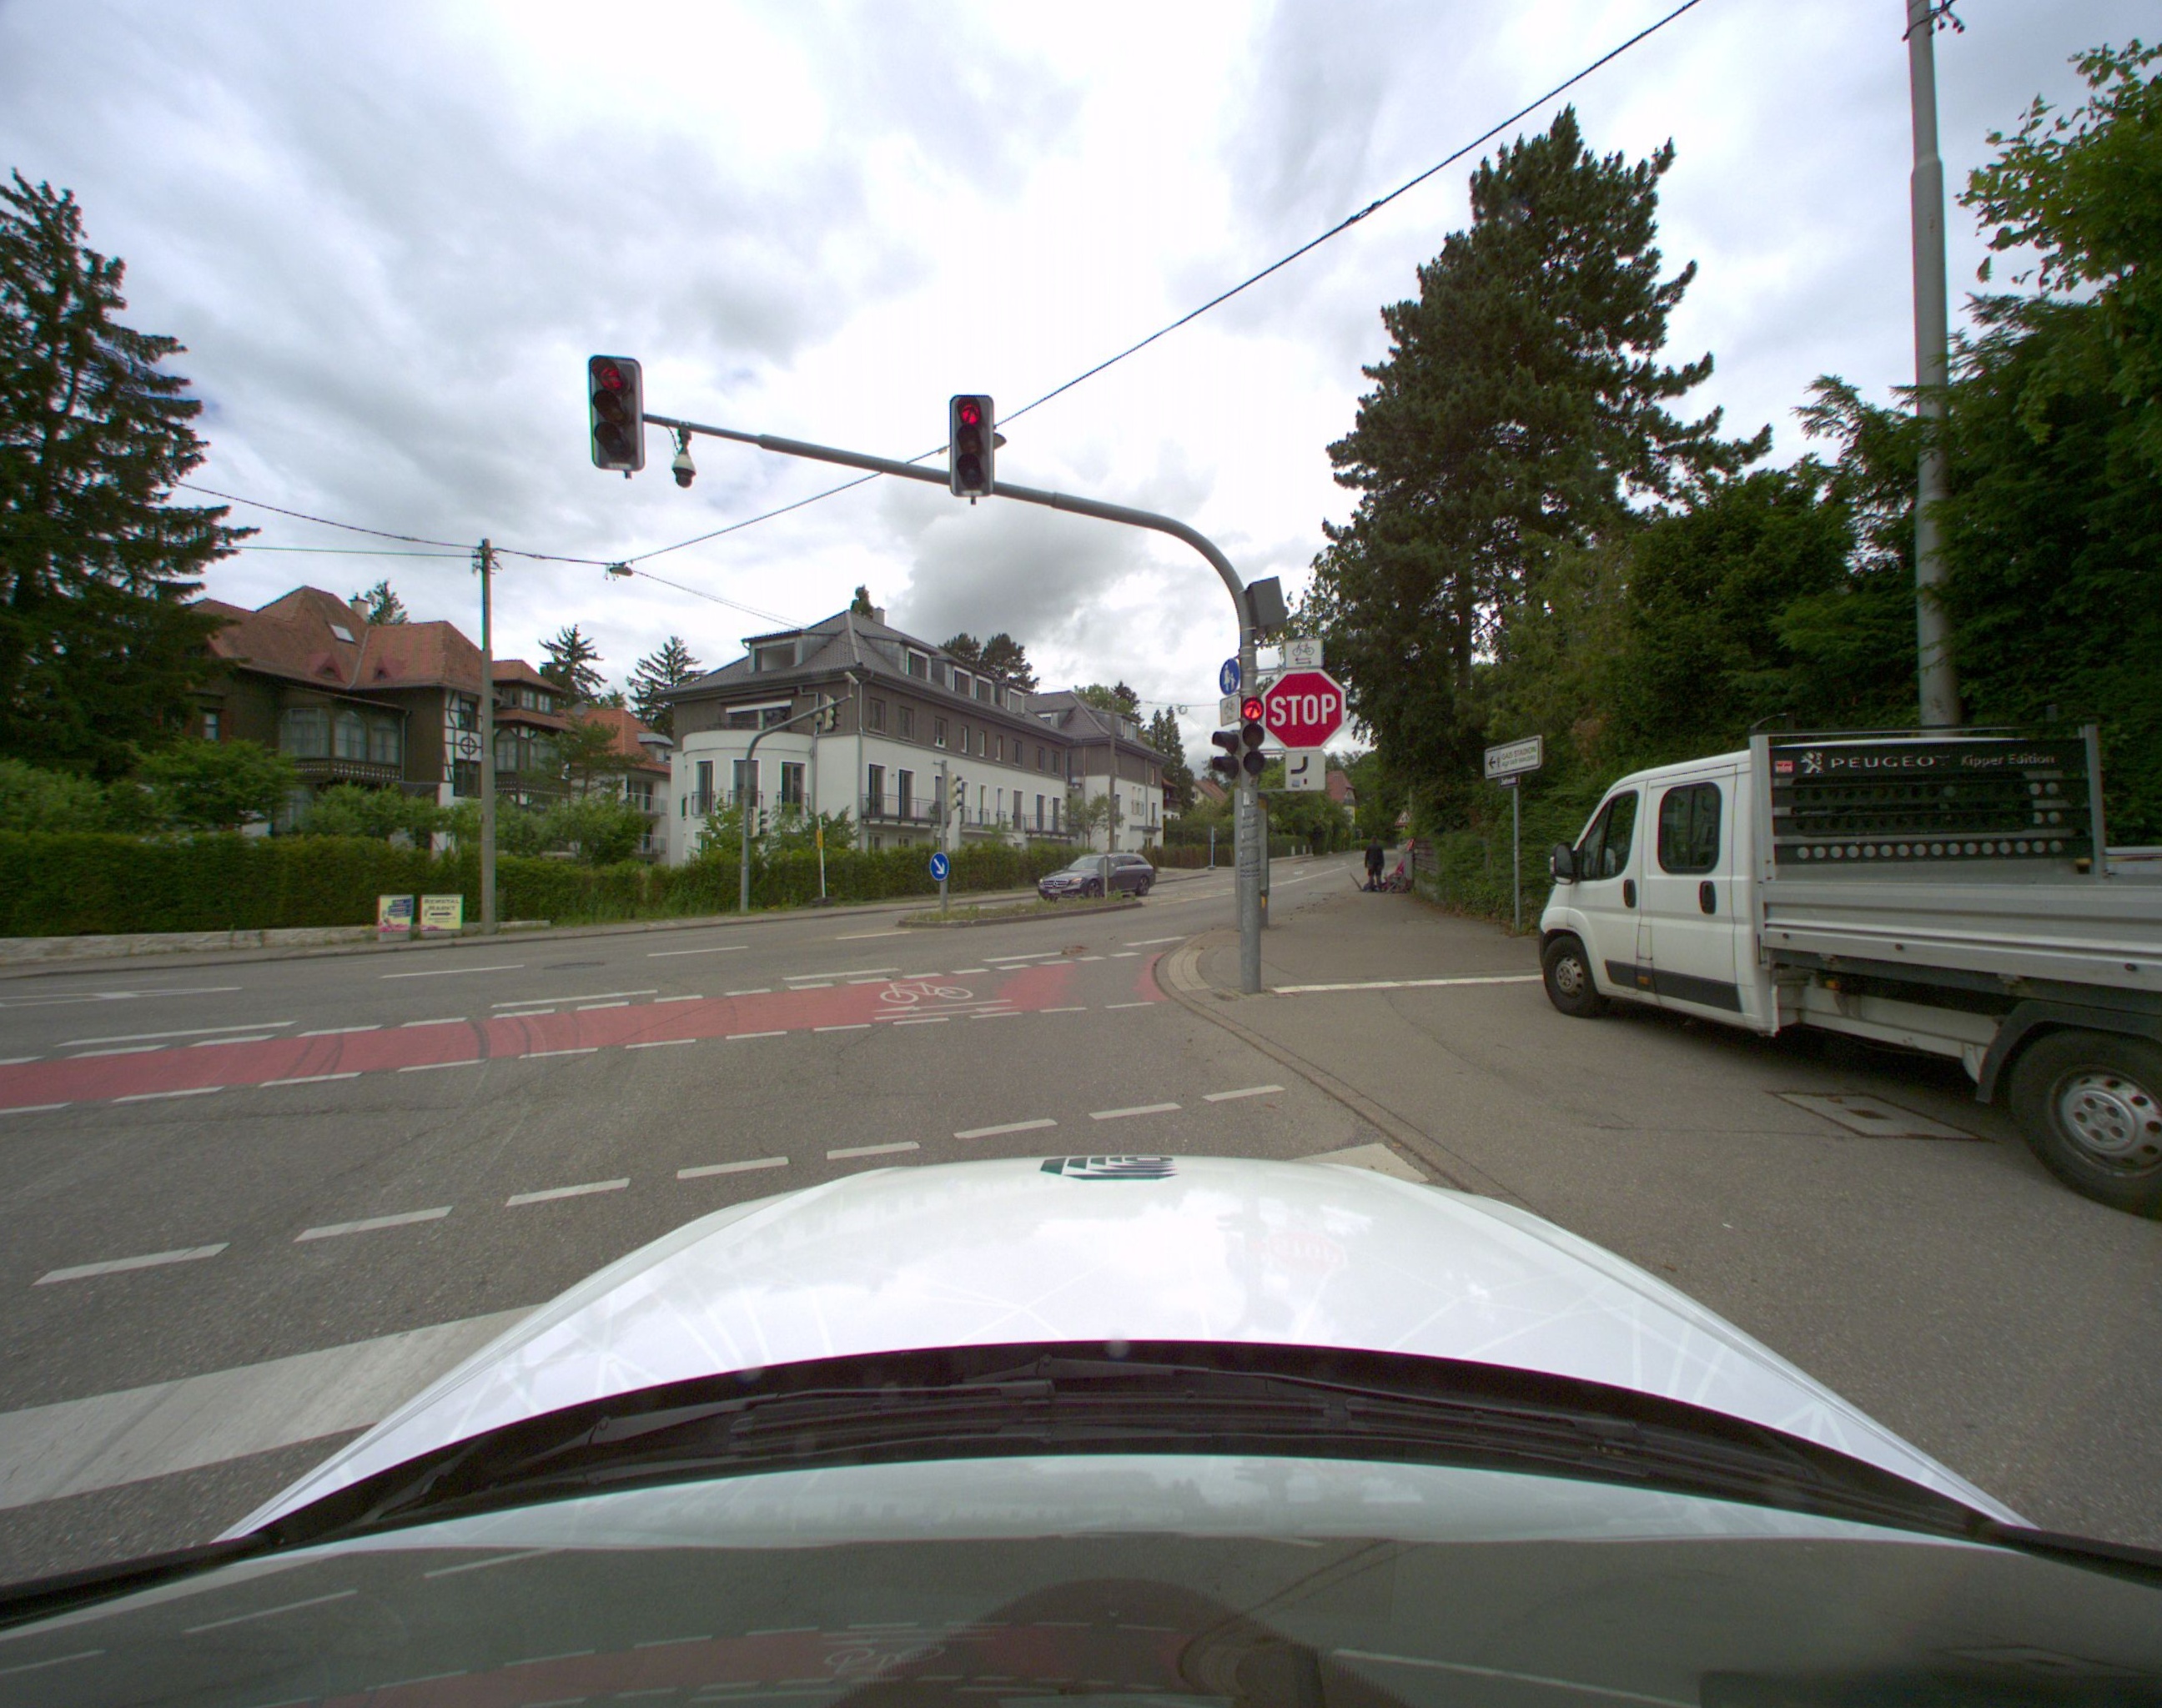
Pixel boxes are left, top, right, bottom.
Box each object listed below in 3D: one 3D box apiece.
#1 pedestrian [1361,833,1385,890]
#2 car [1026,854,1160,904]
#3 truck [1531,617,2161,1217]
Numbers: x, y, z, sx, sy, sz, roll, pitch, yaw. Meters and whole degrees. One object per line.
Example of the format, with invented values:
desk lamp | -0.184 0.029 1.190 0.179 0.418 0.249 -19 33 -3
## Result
pedestrian | 9.766 0.248 27.280 0.594 1.907 0.559 0 -1 2
car | 0.495 0.744 26.497 1.920 1.403 4.773 -1 0 36
truck | 5.269 0.236 4.953 2.198 2.243 5.729 0 0 4
